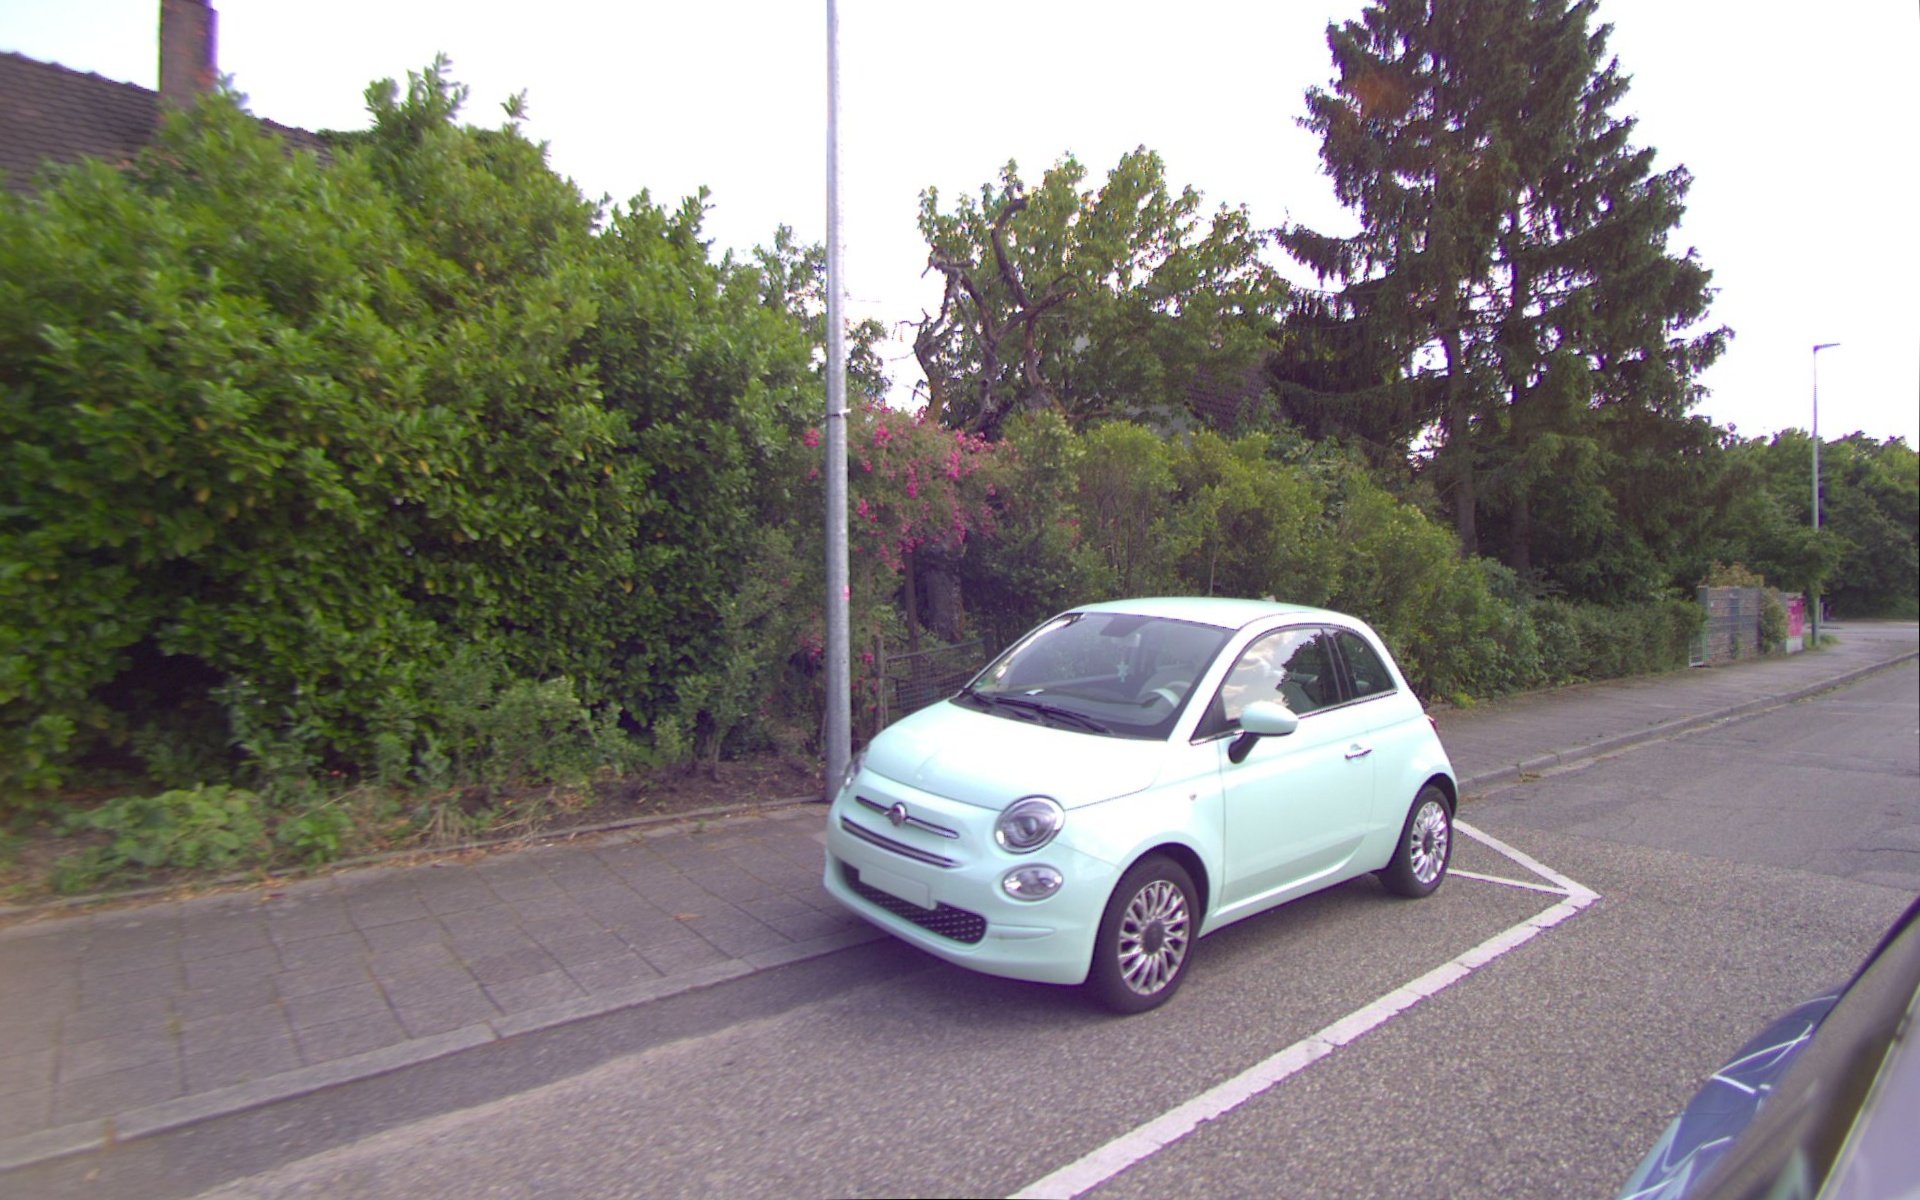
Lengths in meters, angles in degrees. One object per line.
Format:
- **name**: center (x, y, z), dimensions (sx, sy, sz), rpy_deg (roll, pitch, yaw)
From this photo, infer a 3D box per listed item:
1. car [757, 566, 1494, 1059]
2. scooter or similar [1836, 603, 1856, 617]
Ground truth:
- **car**: center (1.027, 0.665, 4.978), dimensions (3.689, 1.539, 1.584), rpy_deg (0, -1, -40)
- **scooter or similar**: center (61.111, 0.709, 69.818), dimensions (1.033, 0.953, 0.292), rpy_deg (1, 2, 44)
